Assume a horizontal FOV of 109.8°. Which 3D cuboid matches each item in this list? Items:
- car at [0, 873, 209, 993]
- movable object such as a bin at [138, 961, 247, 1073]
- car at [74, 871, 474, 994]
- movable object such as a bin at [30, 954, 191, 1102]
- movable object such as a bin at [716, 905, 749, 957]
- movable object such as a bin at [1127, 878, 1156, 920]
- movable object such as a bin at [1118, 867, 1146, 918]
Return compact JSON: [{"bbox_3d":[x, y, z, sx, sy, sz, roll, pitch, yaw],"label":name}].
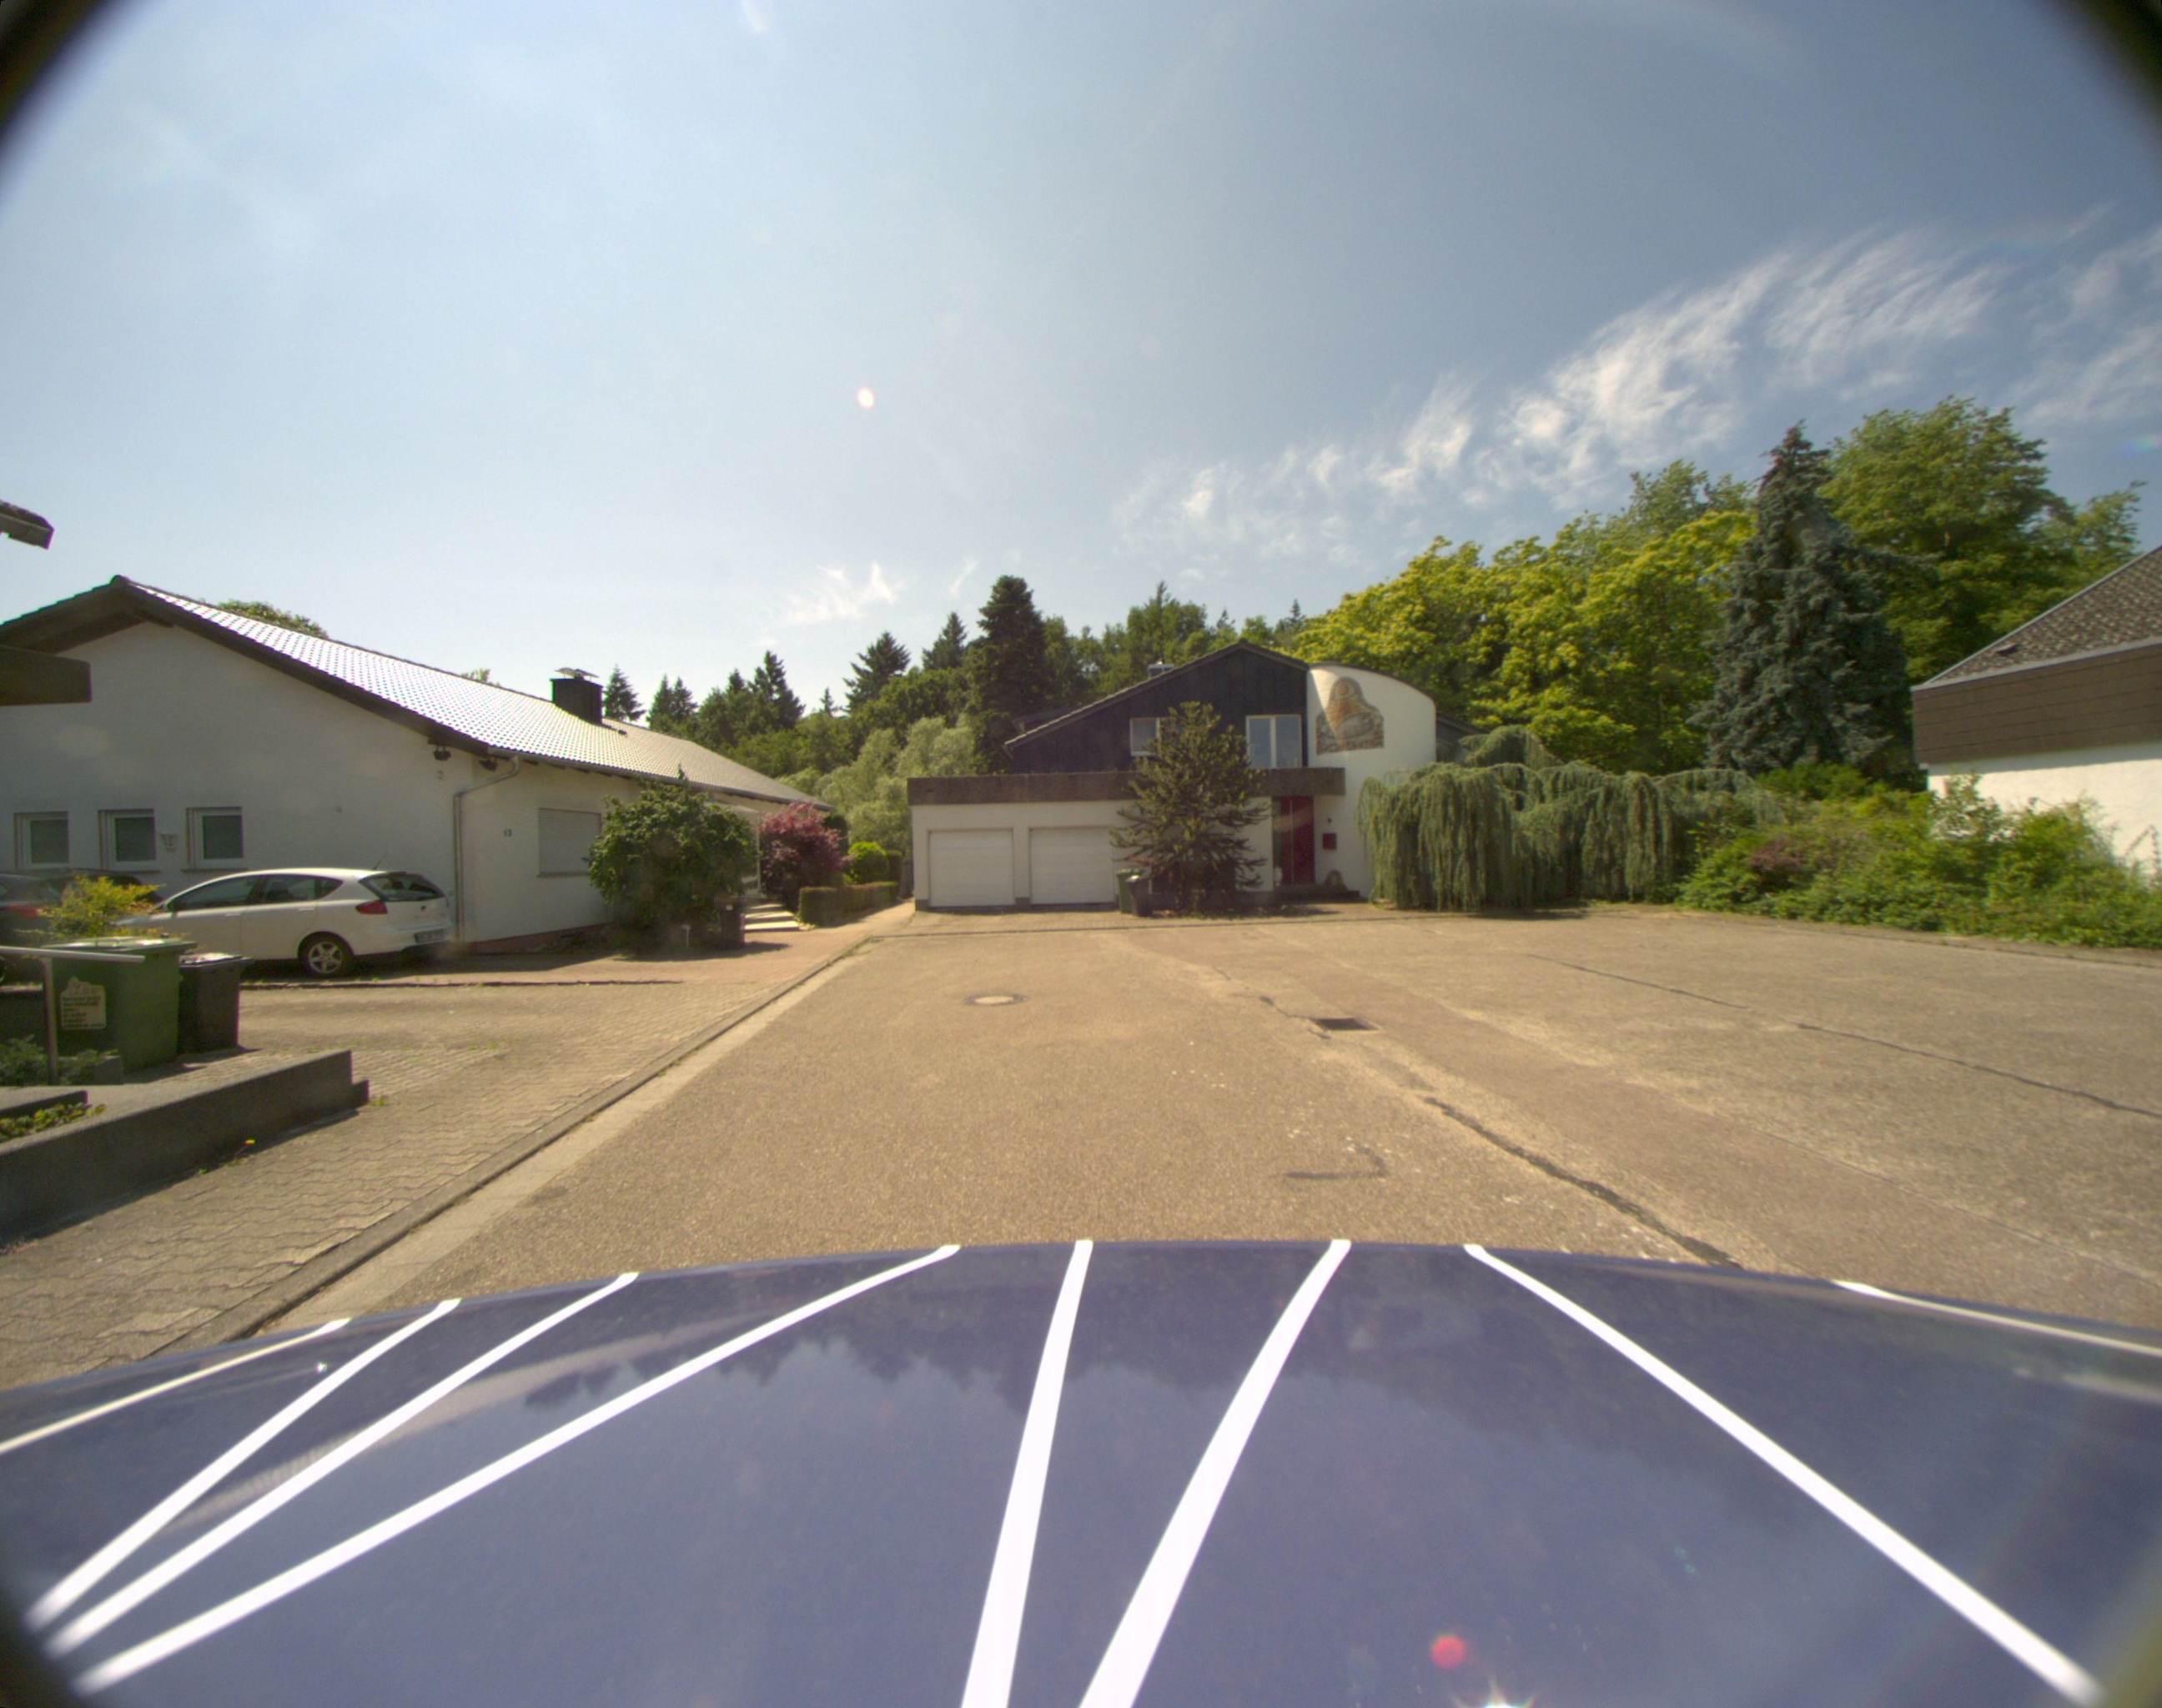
[{"bbox_3d":[-16.484,1.154,11.629,3.997,1.599,1.928,-1,1,1],"label":"car"},{"bbox_3d":[-7.806,1.419,6.688,0.426,0.886,0.407,-2,1,-7],"label":"movable object such as a bin"},{"bbox_3d":[-11.924,1.109,11.469,3.998,1.559,1.751,-1,1,-3],"label":"car"},{"bbox_3d":[-7.817,1.376,6.149,0.491,1.035,0.592,-2,1,-7],"label":"movable object such as a bin"},{"bbox_3d":[-6.258,1.371,13.639,0.390,0.886,0.375,-1,2,0],"label":"movable object such as a bin"},{"bbox_3d":[1.415,1.042,17.860,0.524,0.944,0.388,-2,1,-26],"label":"movable object such as a bin"},{"bbox_3d":[1.232,0.930,18.510,0.633,1.196,0.551,-1,1,1],"label":"movable object such as a bin"}]
